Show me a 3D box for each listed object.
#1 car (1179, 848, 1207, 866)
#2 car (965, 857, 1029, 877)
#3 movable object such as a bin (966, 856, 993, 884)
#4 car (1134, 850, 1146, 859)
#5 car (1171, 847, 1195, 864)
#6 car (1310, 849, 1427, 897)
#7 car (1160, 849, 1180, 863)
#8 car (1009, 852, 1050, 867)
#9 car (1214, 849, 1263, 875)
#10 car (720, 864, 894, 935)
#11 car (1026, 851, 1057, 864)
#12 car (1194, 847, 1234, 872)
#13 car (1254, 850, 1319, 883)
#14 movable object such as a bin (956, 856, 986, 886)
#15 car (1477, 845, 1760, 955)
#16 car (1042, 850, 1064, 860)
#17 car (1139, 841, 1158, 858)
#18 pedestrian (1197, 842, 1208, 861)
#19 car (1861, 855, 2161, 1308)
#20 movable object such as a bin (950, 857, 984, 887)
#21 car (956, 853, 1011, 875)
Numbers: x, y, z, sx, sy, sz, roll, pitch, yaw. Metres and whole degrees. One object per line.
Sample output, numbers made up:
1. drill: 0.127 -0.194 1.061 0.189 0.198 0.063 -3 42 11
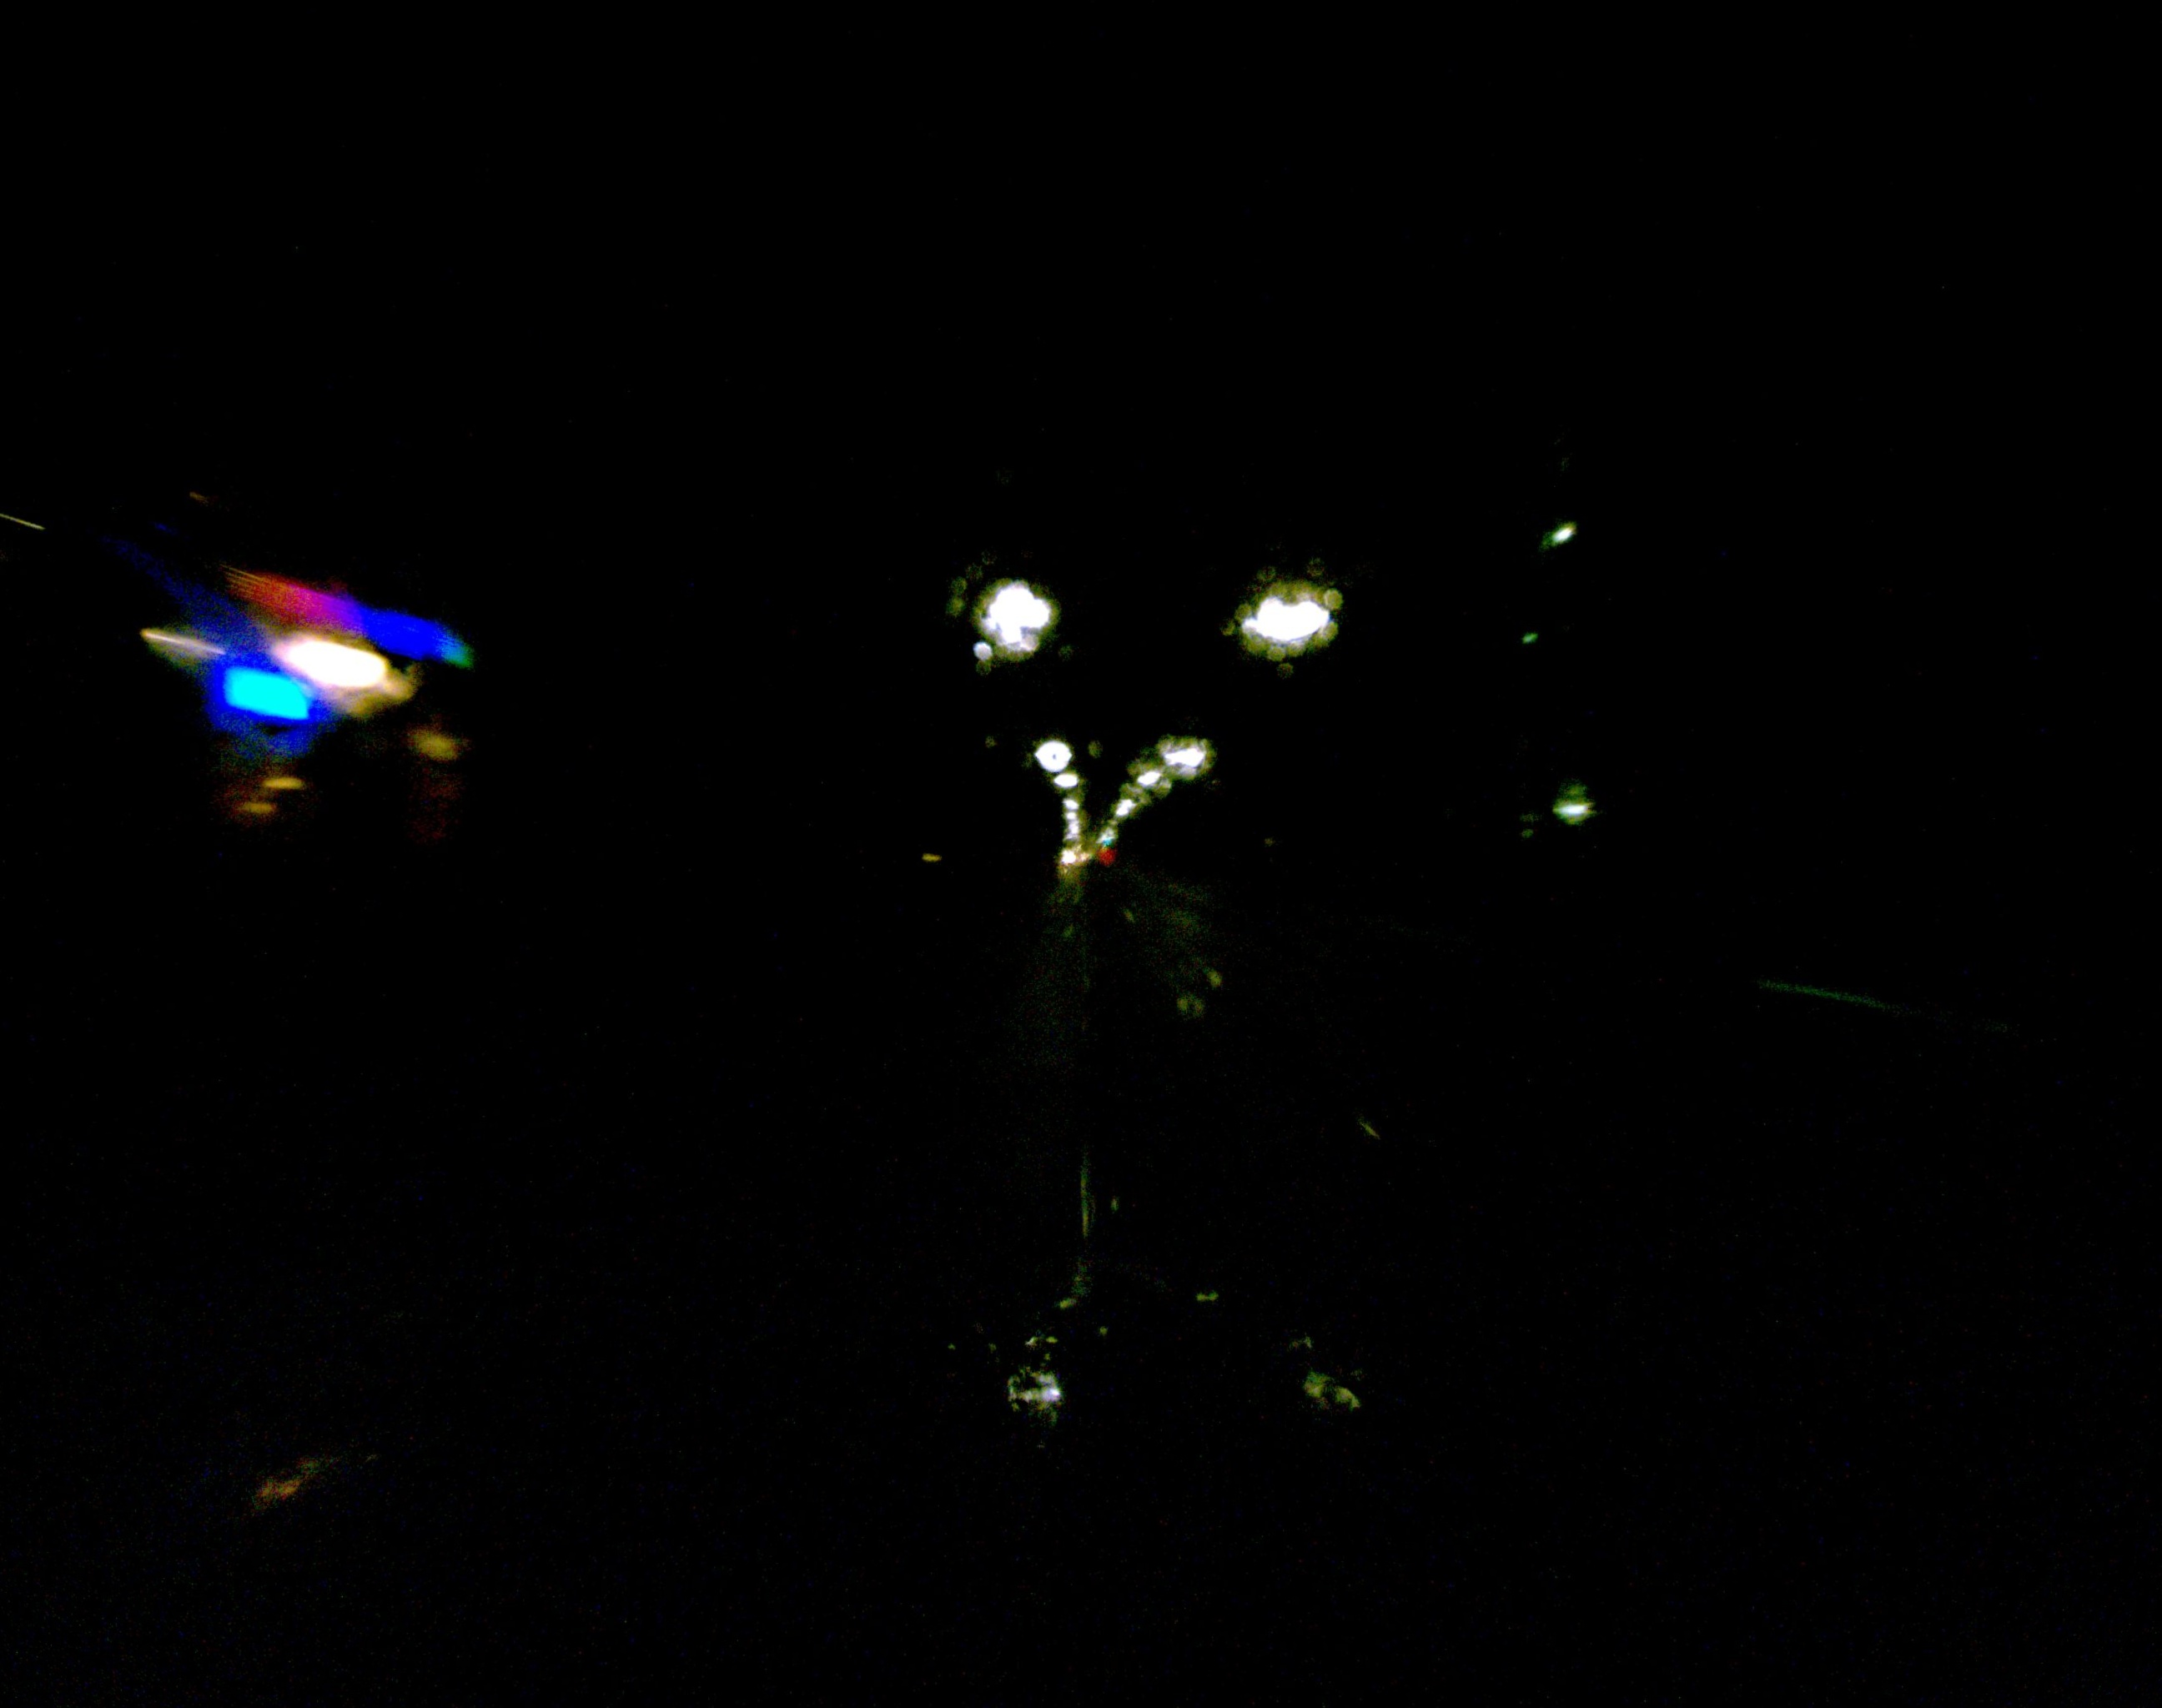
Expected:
1. car: 9.821 0.230 66.955 1.735 1.430 4.625 -2 1 1
2. car: -6.473 0.969 58.599 4.604 1.467 1.837 -1 1 -19
3. movable object such as a bin: -5.175 0.799 38.770 1.326 1.400 1.159 0 1 -5
4. car: 10.860 0.036 140.956 1.846 1.573 3.663 -4 1 0
5. car: 10.370 0.163 77.616 1.814 1.569 4.353 -5 0 1
6. car: 9.863 0.597 26.540 1.893 1.454 4.957 -1 1 -4
7. car: 10.110 0.170 86.375 1.723 1.447 3.950 -2 1 0
8. car: -5.773 0.625 85.008 4.349 1.459 1.677 -2 1 -38
9. car: 9.521 0.440 46.286 1.778 1.432 4.606 -1 1 -3
10. car: -7.296 1.139 20.274 4.111 1.528 1.956 -2 1 -25
11. car: -5.115 0.441 98.548 1.707 1.503 3.914 -1 1 44
12. car: 10.018 0.377 57.561 2.149 1.610 4.588 -4 1 0
13. car: 9.855 0.563 36.796 1.845 1.415 4.207 -1 1 -3
14. movable object such as a bin: -5.444 0.842 37.630 1.210 1.414 1.101 0 1 6
15. car: 9.503 0.693 13.996 1.885 1.536 4.398 -5 1 -2
16. car: -5.280 0.113 143.130 3.965 1.761 1.666 -3 1 -37
17. car: 10.592 -0.667 119.954 2.248 2.494 5.258 -4 1 -2
18. pedestrian: 12.245 -0.244 76.504 0.794 1.890 1.290 -2 1 1
19. car: 4.571 0.786 1.571 1.780 1.509 4.050 -2 0 1
20. movable object such as a bin: -5.482 0.861 36.503 1.371 1.414 1.073 0 1 6
21. car: -7.077 0.731 55.175 3.708 1.509 1.656 -1 1 -18
